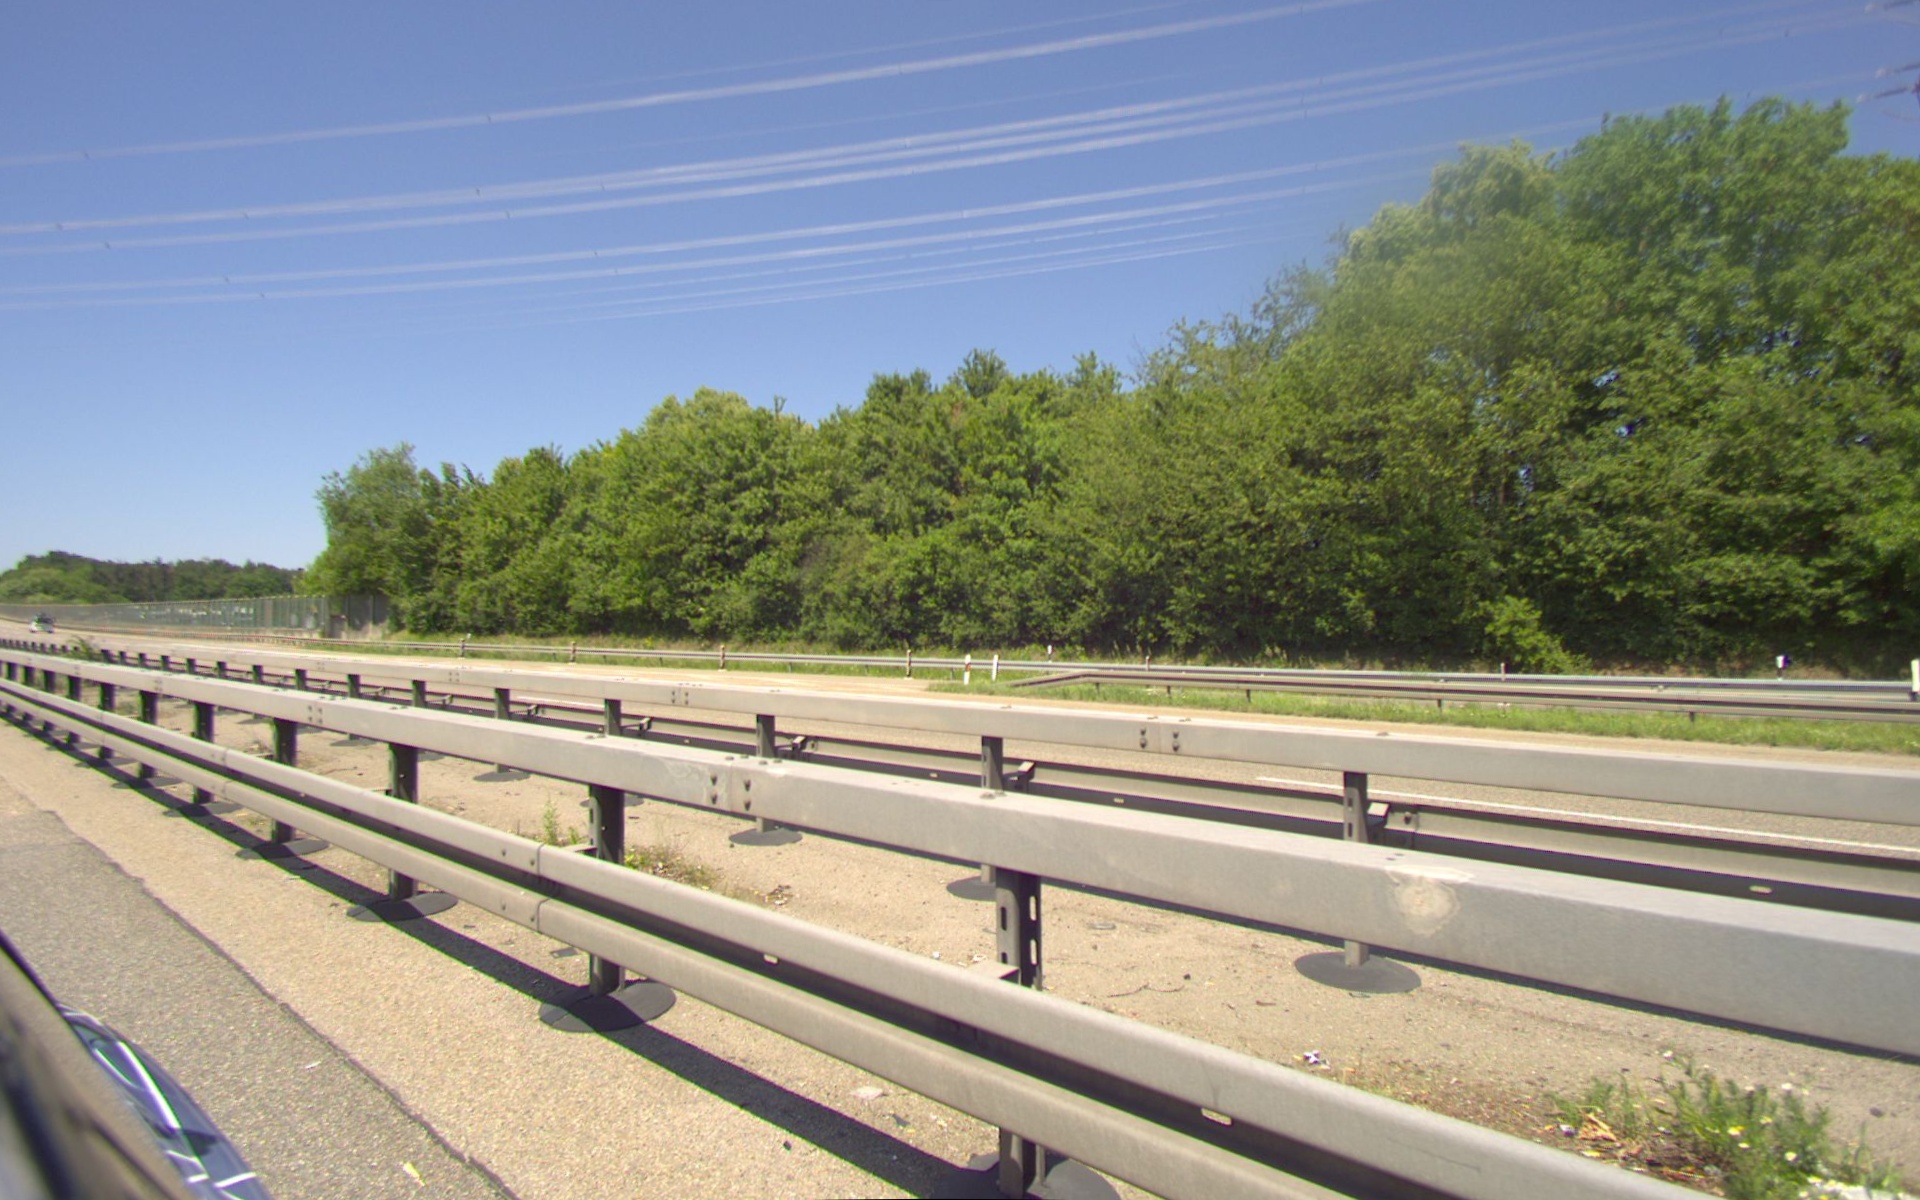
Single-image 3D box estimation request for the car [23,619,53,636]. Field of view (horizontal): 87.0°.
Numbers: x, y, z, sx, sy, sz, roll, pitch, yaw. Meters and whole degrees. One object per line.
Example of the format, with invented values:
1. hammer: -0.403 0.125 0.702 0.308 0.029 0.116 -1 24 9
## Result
1. car: -110.400 3.325 121.165 5.488 1.919 1.845 0 -2 40
